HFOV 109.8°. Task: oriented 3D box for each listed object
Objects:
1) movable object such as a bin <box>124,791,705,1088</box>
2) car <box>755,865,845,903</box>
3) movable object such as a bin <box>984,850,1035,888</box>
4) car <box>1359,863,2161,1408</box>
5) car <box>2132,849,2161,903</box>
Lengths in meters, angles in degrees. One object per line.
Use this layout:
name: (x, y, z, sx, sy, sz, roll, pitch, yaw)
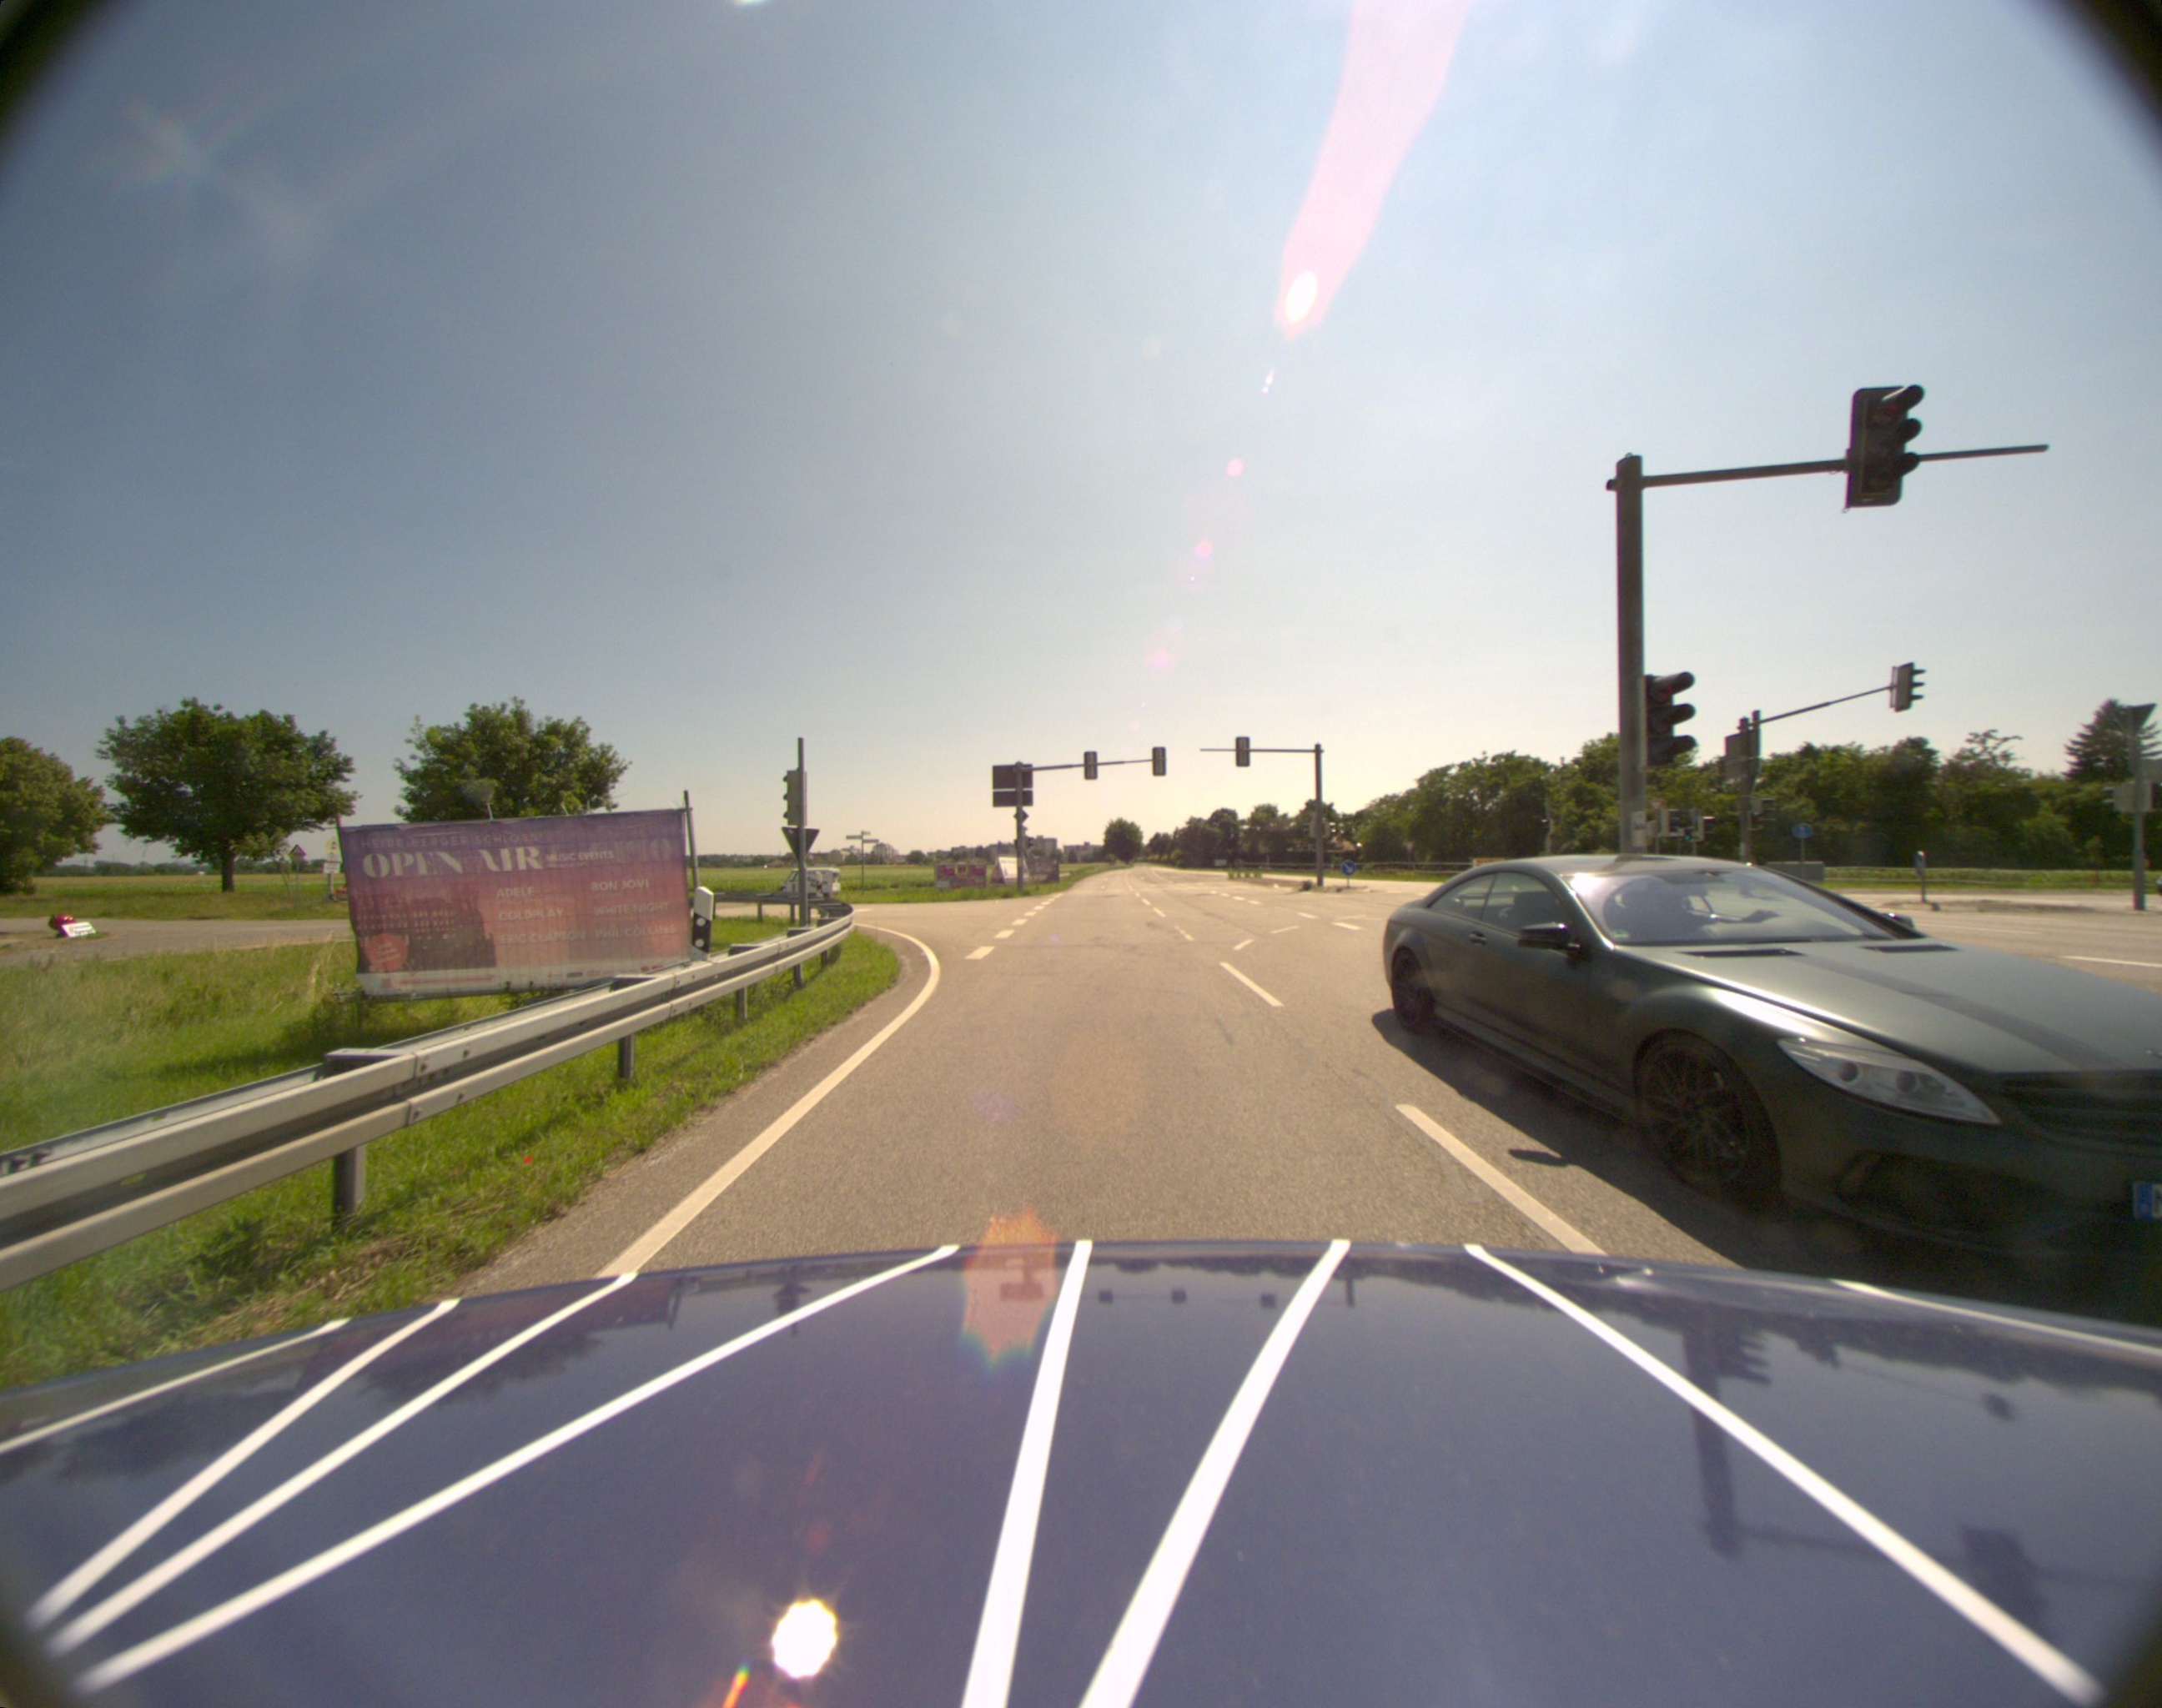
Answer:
movable object such as a bin: (-5.956, 0.715, 7.102, 4.105, 2.318, 1.277, -3, 1, -2)
car: (-12.057, 1.277, 32.713, 3.345, 1.491, 1.400, -2, 0, -4)
movable object such as a bin: (-4.805, 0.991, 51.516, 1.523, 2.349, 4.430, -3, 0, 21)
car: (3.476, 0.829, 4.588, 1.815, 1.441, 4.877, -2, 0, 1)
car: (29.496, 0.506, 18.808, 3.873, 1.378, 1.637, -1, -1, 16)
